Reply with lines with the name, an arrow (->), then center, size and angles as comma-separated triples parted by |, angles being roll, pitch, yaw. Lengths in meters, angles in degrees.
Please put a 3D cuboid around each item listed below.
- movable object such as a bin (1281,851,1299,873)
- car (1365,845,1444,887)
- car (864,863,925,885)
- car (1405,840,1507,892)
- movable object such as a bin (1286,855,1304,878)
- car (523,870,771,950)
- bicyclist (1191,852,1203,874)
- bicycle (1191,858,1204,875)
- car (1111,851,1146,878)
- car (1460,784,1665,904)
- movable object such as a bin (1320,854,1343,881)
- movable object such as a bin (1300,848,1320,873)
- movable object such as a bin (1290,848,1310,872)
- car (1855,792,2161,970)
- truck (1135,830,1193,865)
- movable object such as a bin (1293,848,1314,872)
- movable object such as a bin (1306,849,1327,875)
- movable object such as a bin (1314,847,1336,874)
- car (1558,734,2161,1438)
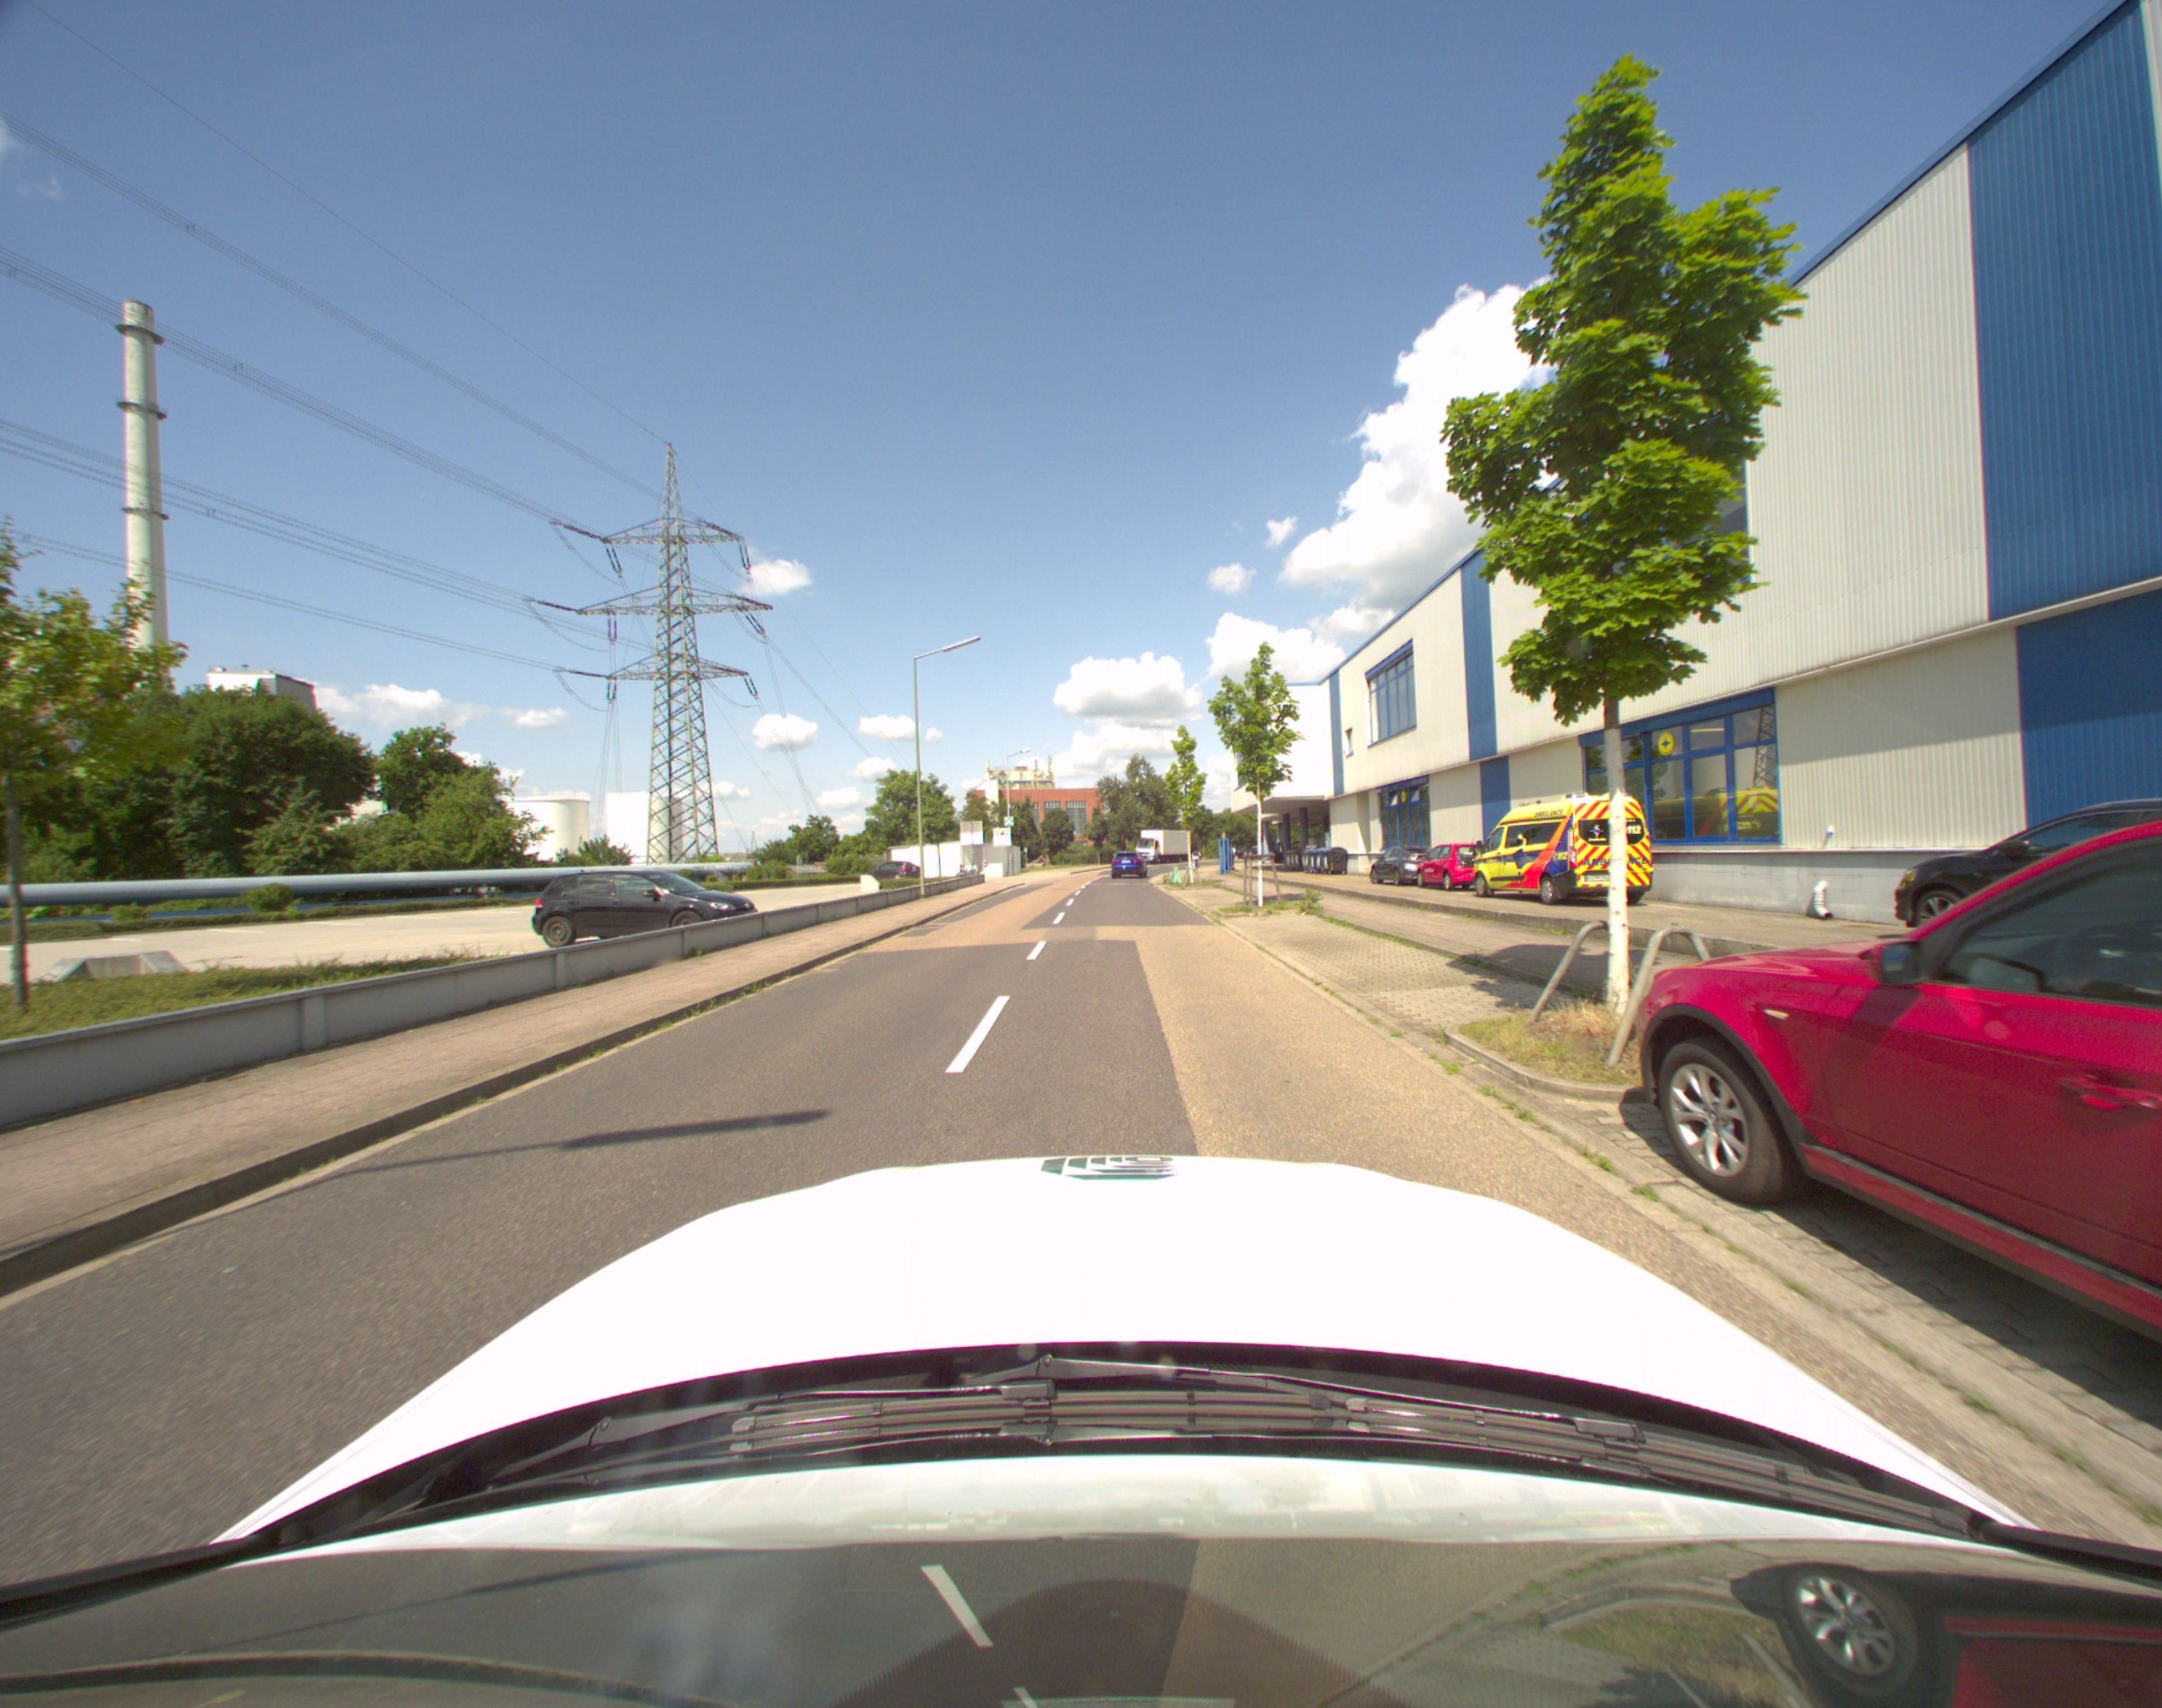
movable object such as a bin -> 13.600, 0.535, 53.080 | 0.801, 1.413, 1.357 | -1, -1, 0
car -> 11.873, 0.442, 30.145 | 1.490, 1.403, 3.856 | -1, -1, 2
car -> -12.469, 1.359, 54.372 | 3.948, 1.378, 1.815 | -2, -1, 36
car -> 11.765, 0.384, 25.806 | 1.567, 1.490, 3.818 | -1, -1, 2
movable object such as a bin -> 13.542, 0.789, 51.596 | 0.801, 1.413, 1.357 | -1, -1, 0
car -> -8.618, 1.079, 16.420 | 3.972, 1.376, 1.804 | -2, -1, 1
bicyclist -> 7.618, 0.572, 53.403 | 0.658, 1.397, 0.861 | -2, -1, 13
bicycle -> 7.633, 0.804, 53.323 | 0.662, 1.109, 2.175 | -2, -1, 13
car -> 3.013, 0.660, 50.499 | 1.900, 1.593, 4.709 | -1, -1, 6
car -> 11.292, -0.173, 19.663 | 1.916, 2.464, 5.261 | -1, -1, 2
movable object such as a bin -> 13.174, 0.699, 42.876 | 0.801, 1.413, 1.358 | -1, -1, 1
movable object such as a bin -> 13.269, 0.379, 47.171 | 0.801, 1.413, 1.174 | -1, -1, -1
movable object such as a bin -> 13.494, 0.379, 50.192 | 0.801, 1.413, 1.405 | -1, -1, 0
car -> 10.929, 0.249, 8.506 | 1.708, 1.652, 4.216 | -2, -1, 2
truck -> 9.085, -0.736, 88.160 | 2.298, 3.567, 9.427 | 0, 1, 32
movable object such as a bin -> 13.267, 0.381, 48.623 | 0.801, 1.413, 1.427 | -1, -1, 0
movable object such as a bin -> 13.263, 0.442, 45.849 | 0.801, 1.413, 1.358 | -1, -1, 1
movable object such as a bin -> 13.282, 0.349, 44.351 | 0.801, 1.413, 1.358 | -1, -1, 1
car -> 3.417, 0.534, 2.179 | 1.747, 1.651, 4.681 | -1, -1, 4
